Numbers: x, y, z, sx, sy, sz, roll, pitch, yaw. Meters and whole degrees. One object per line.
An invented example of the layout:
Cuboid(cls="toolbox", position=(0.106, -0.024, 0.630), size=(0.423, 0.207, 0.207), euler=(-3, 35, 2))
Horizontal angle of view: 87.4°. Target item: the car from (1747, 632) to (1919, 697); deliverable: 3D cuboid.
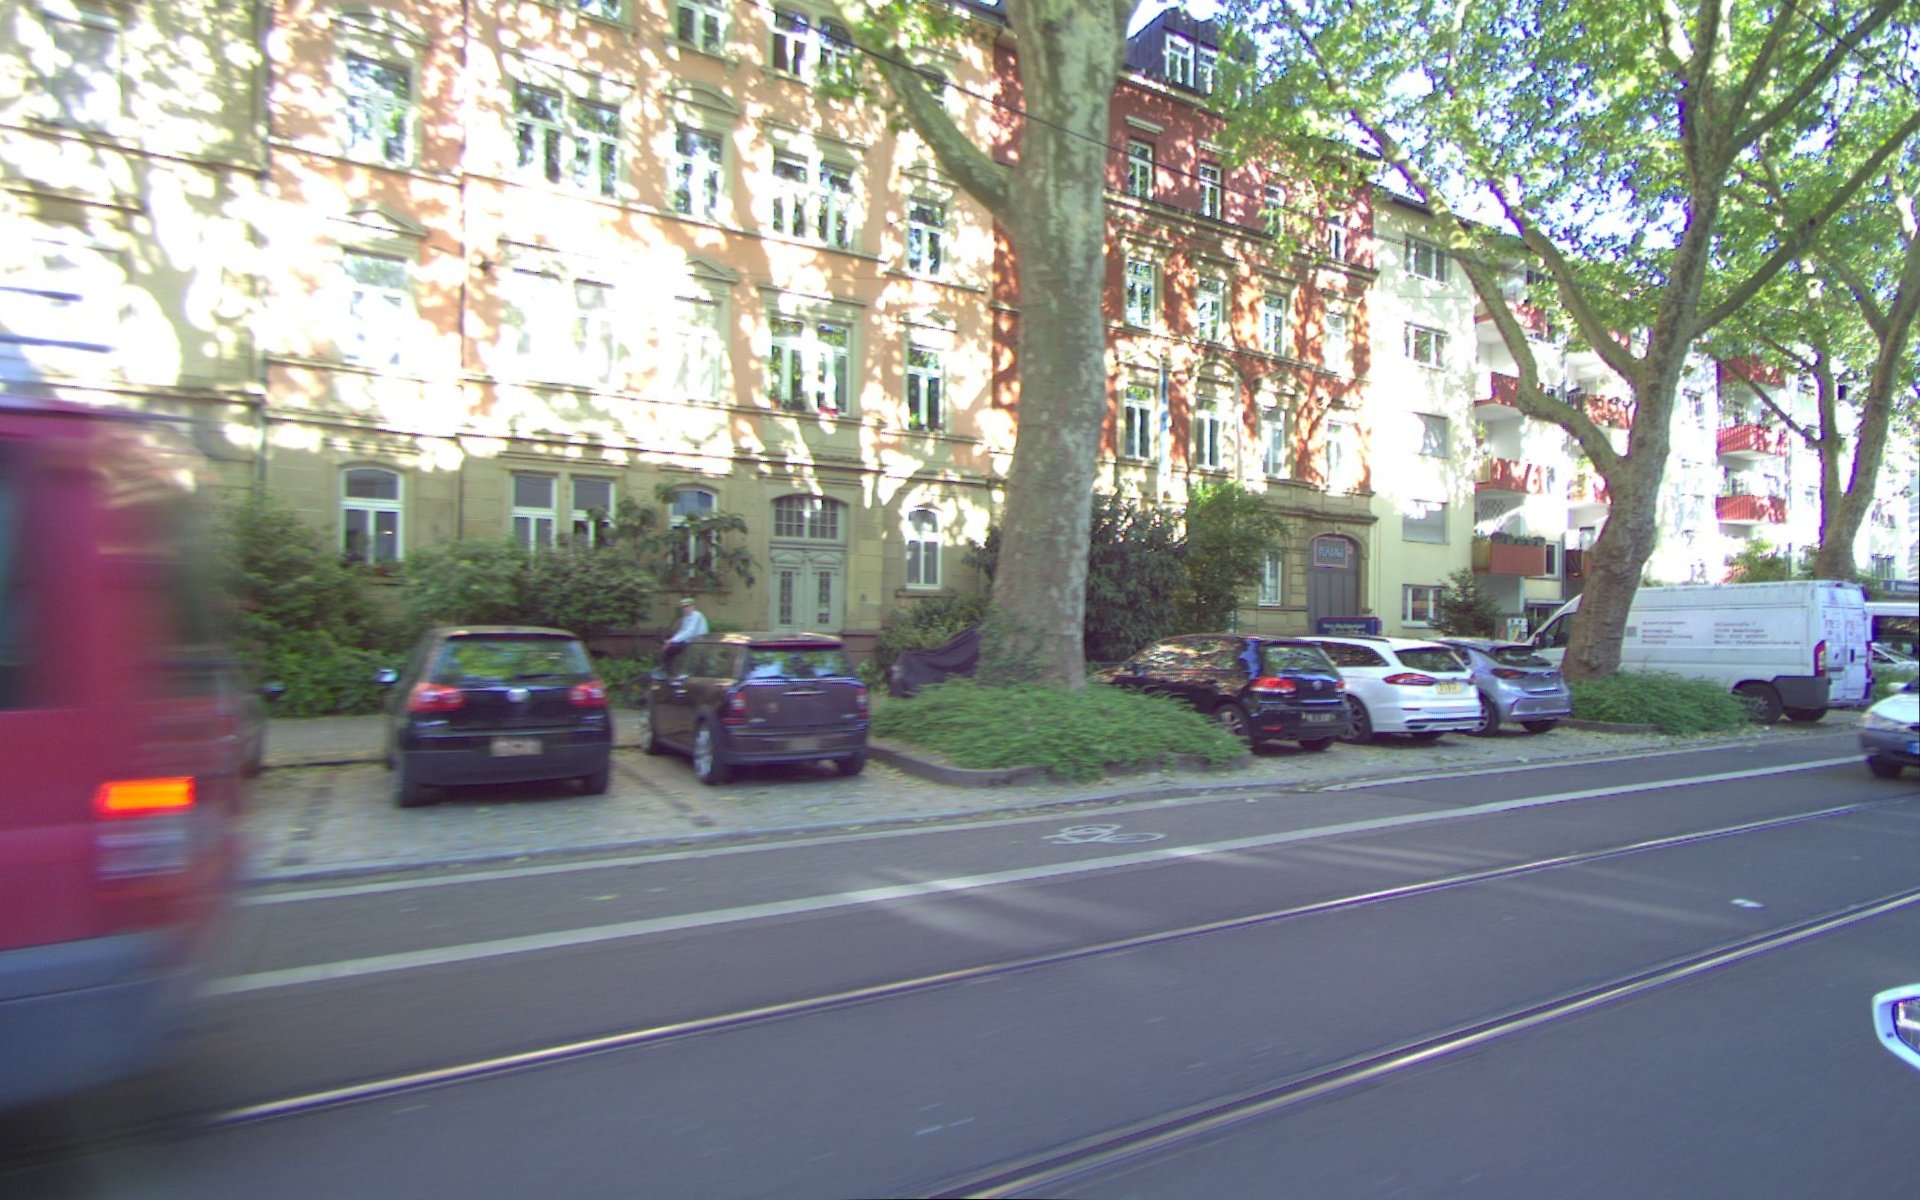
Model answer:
Cuboid(cls="car", position=(23.833, 1.660, 26.616), size=(1.850, 1.559, 4.351), euler=(1, -1, -29))

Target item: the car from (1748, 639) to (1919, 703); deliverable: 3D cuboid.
Cuboid(cls="car", position=(22.225, 1.700, 24.487), size=(1.910, 1.403, 4.390), euler=(1, -1, -29))

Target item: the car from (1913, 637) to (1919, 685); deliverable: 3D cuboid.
Cuboid(cls="car", position=(31.511, 1.910, 30.063), size=(1.849, 1.485, 4.003), euler=(1, -1, -28))

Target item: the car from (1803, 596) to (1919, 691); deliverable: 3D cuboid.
Cuboid(cls="car", position=(26.227, 1.164, 26.830), size=(2.032, 2.510, 5.338), euler=(1, -2, -29))

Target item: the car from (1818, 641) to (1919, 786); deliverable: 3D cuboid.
Cuboid(cls="car", position=(11.262, 1.152, 10.694), size=(4.413, 1.376, 1.712), euler=(1, -2, -27))

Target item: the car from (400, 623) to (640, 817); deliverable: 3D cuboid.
Cuboid(cls="car", position=(-4.476, 0.977, 9.863), size=(1.749, 1.479, 3.969), euler=(1, -2, -30))

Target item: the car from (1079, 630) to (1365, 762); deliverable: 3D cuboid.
Cuboid(cls="car", position=(3.404, 1.180, 13.719), size=(1.683, 1.479, 3.778), euler=(1, -1, -28))

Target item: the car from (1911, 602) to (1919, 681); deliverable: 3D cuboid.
Cuboid(cls="car", position=(33.601, 1.344, 31.683), size=(2.059, 2.601, 4.917), euler=(1, -2, -32))

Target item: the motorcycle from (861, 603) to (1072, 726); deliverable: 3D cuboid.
Cuboid(cls="motorcycle", position=(0.130, 0.933, 14.924), size=(2.976, 1.653, 1.047), euler=(2, 0, -30))

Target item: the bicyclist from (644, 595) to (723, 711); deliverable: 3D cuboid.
Cuboid(cls="bicyclist", position=(-4.438, 0.827, 16.097), size=(1.036, 1.786, 0.826), euler=(1, -1, -30))

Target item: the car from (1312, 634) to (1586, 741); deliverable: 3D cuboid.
Cuboid(cls="car", position=(7.804, 1.319, 16.385), size=(1.682, 1.451, 3.795), euler=(1, -1, -27))

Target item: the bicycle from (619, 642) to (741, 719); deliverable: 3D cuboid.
Cuboid(cls="bicycle", position=(-4.467, 1.263, 16.051), size=(1.759, 1.154, 0.739), euler=(1, -1, -30))

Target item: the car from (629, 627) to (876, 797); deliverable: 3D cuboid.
Cuboid(cls="car", position=(-2.454, 1.059, 11.075), size=(1.682, 1.479, 3.973), euler=(1, -2, -27))

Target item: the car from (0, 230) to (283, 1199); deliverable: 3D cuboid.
Cuboid(cls="car", position=(-4.374, 0.297, 1.964), size=(4.904, 2.256, 1.908), euler=(2, -4, -32))

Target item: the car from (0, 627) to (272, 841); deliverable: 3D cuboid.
Cuboid(cls="car", position=(-6.928, 0.951, 8.675), size=(1.589, 1.387, 3.962), euler=(2, -2, -34))

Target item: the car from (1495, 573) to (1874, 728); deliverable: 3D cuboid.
Cuboid(cls="car", position=(13.863, 0.874, 19.746), size=(2.136, 2.570, 5.716), euler=(1, -1, -29))

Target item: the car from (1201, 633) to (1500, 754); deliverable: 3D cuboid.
Cuboid(cls="car", position=(5.656, 1.272, 15.043), size=(1.808, 1.516, 3.971), euler=(1, -2, -28))
